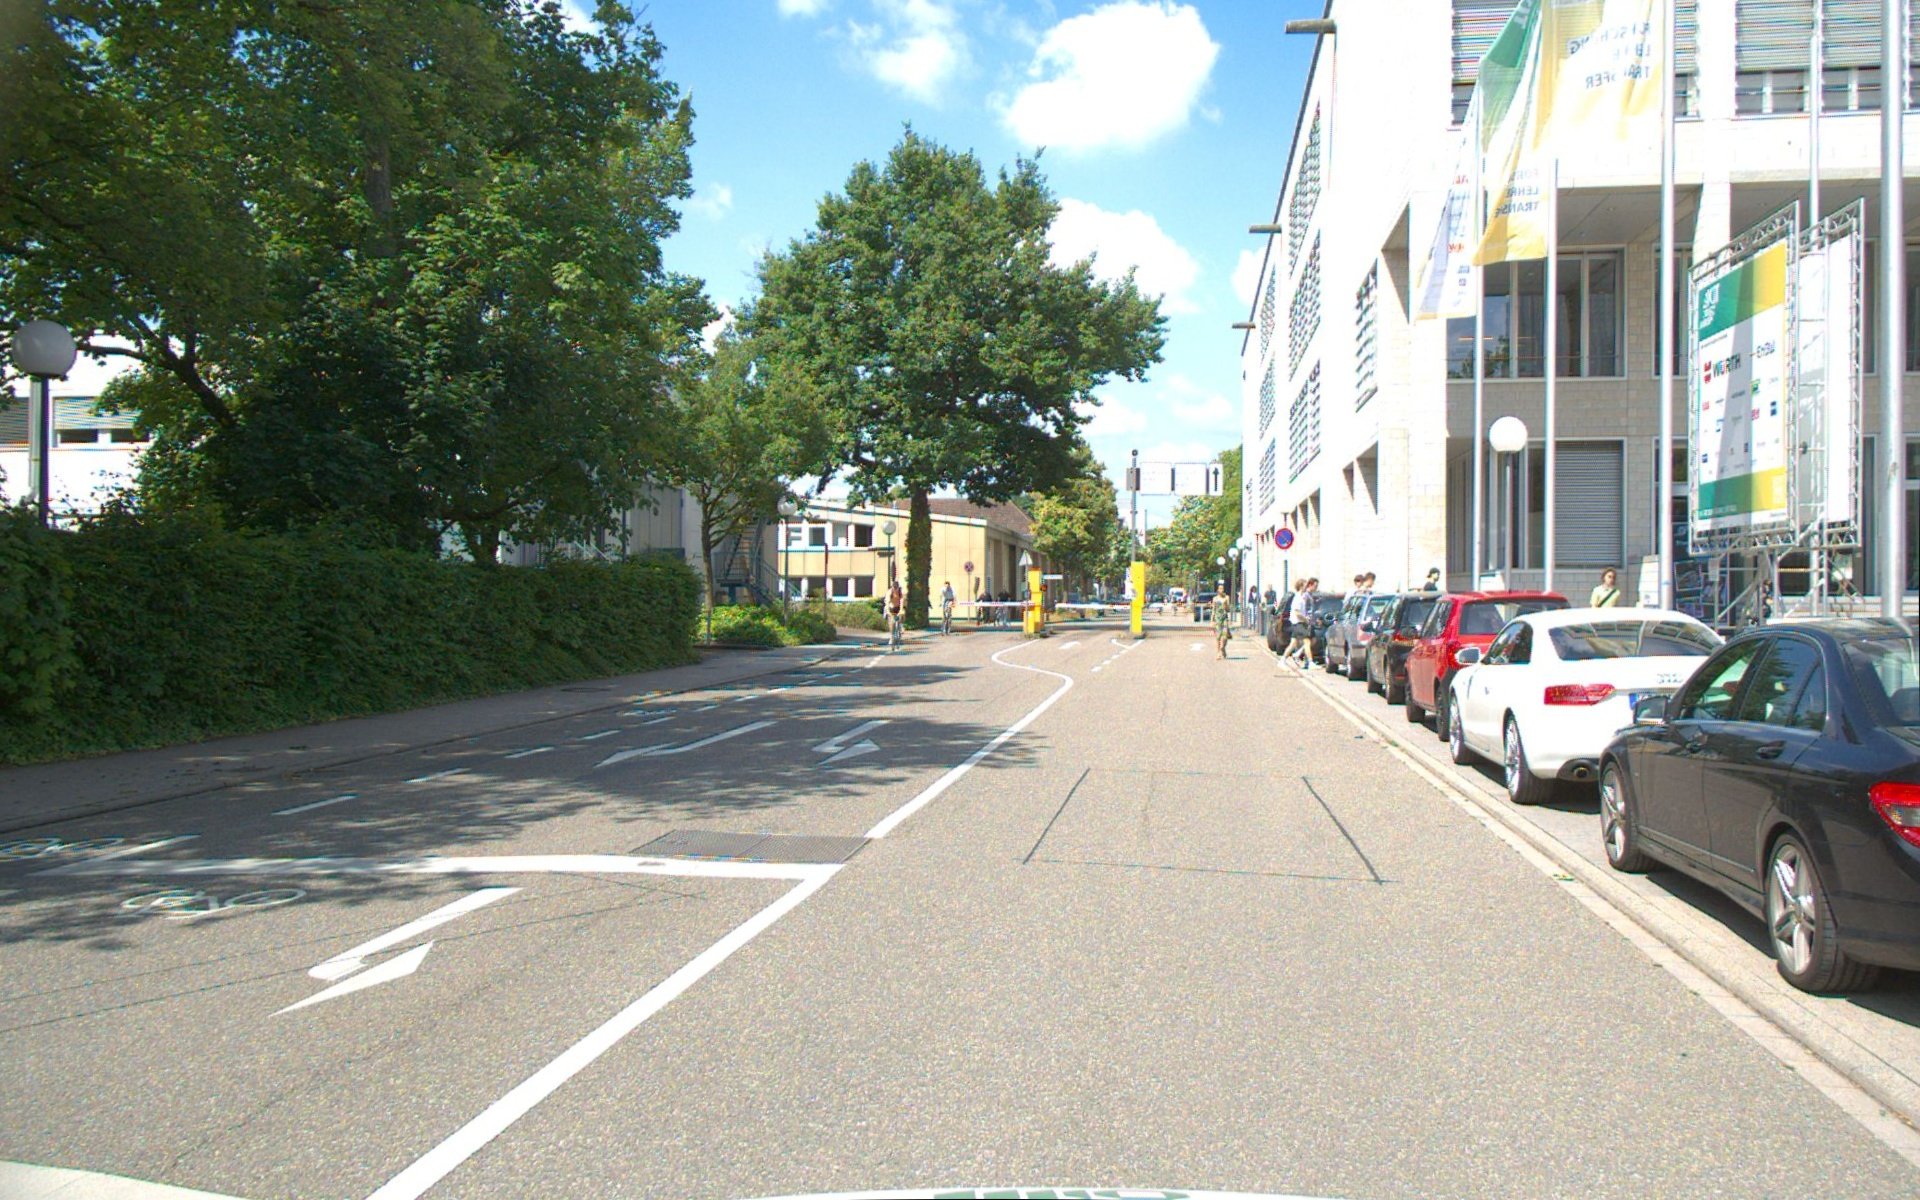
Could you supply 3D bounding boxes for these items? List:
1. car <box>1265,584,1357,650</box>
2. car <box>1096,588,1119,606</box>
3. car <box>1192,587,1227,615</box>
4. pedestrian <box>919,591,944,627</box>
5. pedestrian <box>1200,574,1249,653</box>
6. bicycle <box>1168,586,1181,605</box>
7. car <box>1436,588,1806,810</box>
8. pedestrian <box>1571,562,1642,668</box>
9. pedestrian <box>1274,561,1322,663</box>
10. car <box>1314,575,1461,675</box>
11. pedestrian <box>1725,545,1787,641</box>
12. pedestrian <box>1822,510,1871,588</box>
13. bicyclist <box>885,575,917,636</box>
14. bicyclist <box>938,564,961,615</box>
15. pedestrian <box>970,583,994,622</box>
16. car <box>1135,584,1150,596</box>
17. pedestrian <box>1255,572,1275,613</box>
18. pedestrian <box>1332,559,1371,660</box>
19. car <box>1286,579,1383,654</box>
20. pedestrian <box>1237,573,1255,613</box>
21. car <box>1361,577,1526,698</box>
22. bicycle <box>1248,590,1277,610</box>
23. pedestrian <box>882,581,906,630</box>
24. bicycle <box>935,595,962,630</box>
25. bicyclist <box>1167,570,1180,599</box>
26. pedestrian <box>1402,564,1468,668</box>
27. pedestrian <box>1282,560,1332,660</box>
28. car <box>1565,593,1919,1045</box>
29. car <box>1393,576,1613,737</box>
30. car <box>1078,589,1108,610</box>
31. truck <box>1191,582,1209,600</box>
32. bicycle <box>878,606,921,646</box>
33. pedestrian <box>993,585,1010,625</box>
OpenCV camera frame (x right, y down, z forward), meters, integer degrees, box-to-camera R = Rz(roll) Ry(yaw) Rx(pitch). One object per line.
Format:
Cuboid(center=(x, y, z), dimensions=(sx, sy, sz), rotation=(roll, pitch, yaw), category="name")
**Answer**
Cuboid(center=(8.478, 0.381, 40.252), dimensions=(1.826, 1.490, 4.524), rotation=(-1, 0, 7), category="car")
Cuboid(center=(13.624, -0.294, 152.385), dimensions=(1.951, 1.573, 4.215), rotation=(0, 0, 8), category="car")
Cuboid(center=(14.216, 0.031, 94.437), dimensions=(1.951, 1.573, 4.215), rotation=(0, 0, 8), category="car")
Cuboid(center=(-1.341, 0.415, 77.595), dimensions=(0.867, 1.661, 0.896), rotation=(0, -1, 27), category="pedestrian")
Cuboid(center=(5.988, 0.302, 37.522), dimensions=(0.615, 1.747, 1.032), rotation=(-1, 0, -25), category="pedestrian")
Cuboid(center=(16.259, -0.313, 125.405), dimensions=(0.966, 1.339, 2.966), rotation=(-1, -2, 7), category="bicycle")
Cuboid(center=(5.104, 0.667, 13.419), dimensions=(1.682, 1.424, 4.442), rotation=(-3, 0, 8), category="car")
Cuboid(center=(10.974, 0.251, 28.106), dimensions=(0.898, 1.770, 1.002), rotation=(-1, 0, 7), category="pedestrian")
Cuboid(center=(6.586, 0.232, 32.223), dimensions=(0.769, 1.959, 0.592), rotation=(0, 0, 30), category="pedestrian")
Cuboid(center=(7.445, 0.394, 29.178), dimensions=(1.683, 1.556, 4.569), rotation=(-2, 0, 4), category="car")
Cuboid(center=(14.149, -0.123, 29.390), dimensions=(0.682, 1.668, 0.731), rotation=(-1, 0, -31), category="pedestrian")
Cuboid(center=(19.020, -1.080, 35.502), dimensions=(0.702, 1.613, 0.717), rotation=(-1, -2, 10), category="pedestrian")
Cuboid(center=(-1.551, 0.151, 43.395), dimensions=(0.678, 1.575, 1.019), rotation=(-1, 0, 7), category="bicyclist")
Cuboid(center=(-0.365, -0.374, 58.323), dimensions=(0.678, 1.767, 0.919), rotation=(-1, 0, 7), category="bicyclist")
Cuboid(center=(1.029, 0.121, 78.191), dimensions=(1.033, 1.847, 0.807), rotation=(-1, 1, 6), category="pedestrian")
Cuboid(center=(28.266, -1.521, 256.149), dimensions=(1.951, 1.750, 4.003), rotation=(-1, -2, 10), category="car")
Cuboid(center=(13.900, -0.341, 75.357), dimensions=(0.750, 1.811, 0.911), rotation=(-2, 0, 6), category="pedestrian")
Cuboid(center=(7.744, 0.189, 32.709), dimensions=(0.708, 1.959, 0.752), rotation=(-1, 0, 16), category="pedestrian")
Cuboid(center=(8.046, 0.330, 35.773), dimensions=(1.580, 1.523, 4.009), rotation=(0, 0, 6), category="car")
Cuboid(center=(13.071, -0.325, 75.551), dimensions=(0.680, 1.811, 1.086), rotation=(-2, 0, 6), category="pedestrian")
Cuboid(center=(6.811, 0.484, 23.654), dimensions=(1.682, 1.556, 4.003), rotation=(-1, 0, 8), category="car")
Cuboid(center=(16.615, 0.016, 90.891), dimensions=(1.511, 1.085, 0.648), rotation=(-1, 0, 15), category="bicycle")
Cuboid(center=(-2.246, 0.174, 56.368), dimensions=(0.698, 1.655, 0.884), rotation=(0, 0, 6), category="pedestrian")
Cuboid(center=(-0.399, 0.428, 58.439), dimensions=(0.678, 1.191, 2.211), rotation=(-1, 0, 7), category="bicycle")
Cuboid(center=(16.200, -1.181, 125.451), dimensions=(0.966, 2.169, 1.037), rotation=(-1, -2, 7), category="bicyclist")
Cuboid(center=(9.062, 0.300, 31.576), dimensions=(1.071, 1.953, 1.021), rotation=(-1, 0, 8), category="pedestrian")
Cuboid(center=(6.903, 0.197, 32.891), dimensions=(0.767, 1.959, 0.733), rotation=(0, 0, 30), category="pedestrian")
Cuboid(center=(4.323, 0.722, 7.788), dimensions=(1.682, 1.424, 4.952), rotation=(-3, 0, 8), category="car")
Cuboid(center=(5.914, 0.541, 18.463), dimensions=(1.580, 1.522, 4.151), rotation=(-3, 0, 8), category="car")
Cuboid(center=(10.023, -0.046, 124.455), dimensions=(1.951, 1.573, 4.215), rotation=(0, 0, 8), category="car")
Cuboid(center=(28.752, -1.078, 198.474), dimensions=(1.951, 2.049, 4.002), rotation=(-1, -2, 6), category="truck")
Cuboid(center=(-1.566, 0.664, 43.353), dimensions=(0.776, 1.006, 2.211), rotation=(-1, 0, 7), category="bicycle")
Cuboid(center=(1.947, 0.210, 77.607), dimensions=(0.690, 1.841, 1.002), rotation=(-1, 1, 6), category="pedestrian")
